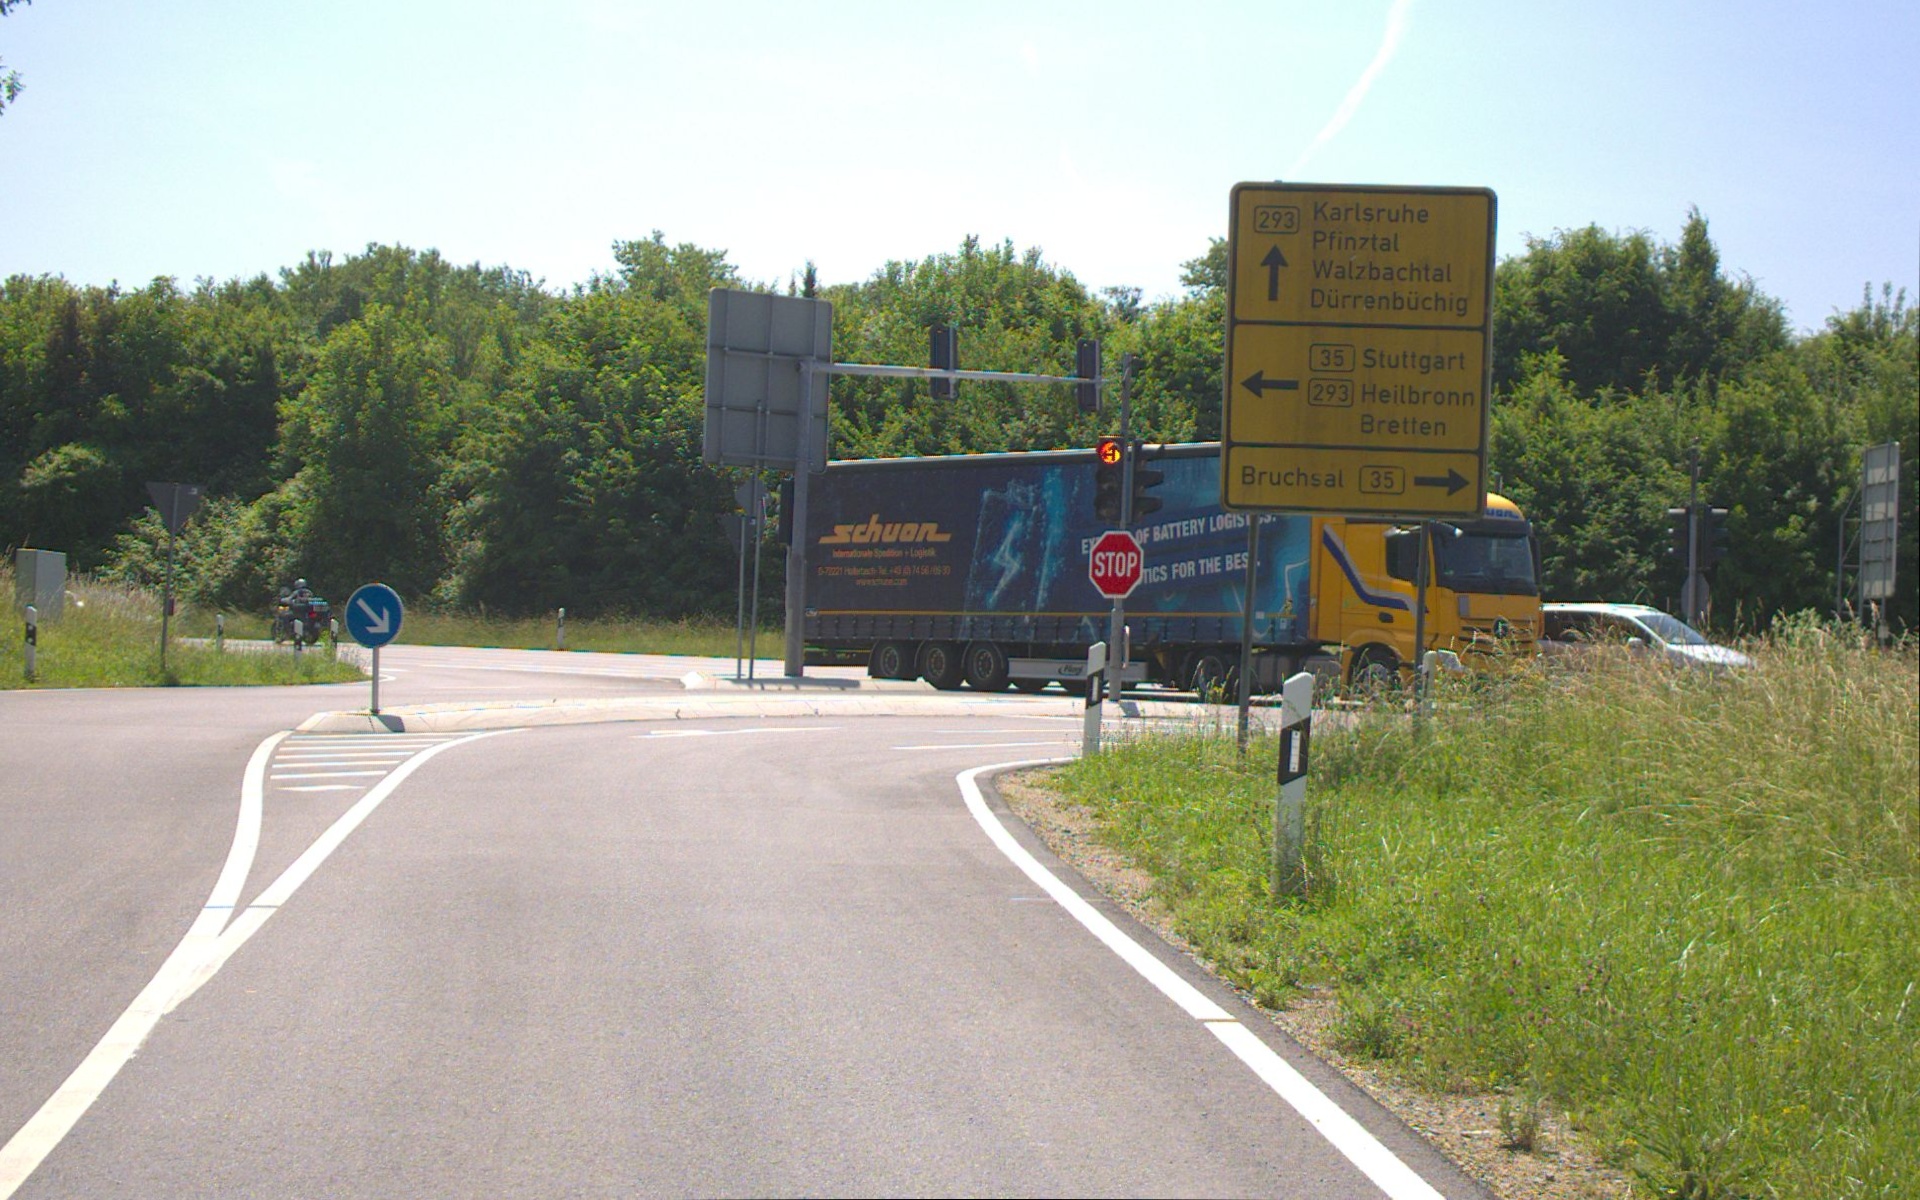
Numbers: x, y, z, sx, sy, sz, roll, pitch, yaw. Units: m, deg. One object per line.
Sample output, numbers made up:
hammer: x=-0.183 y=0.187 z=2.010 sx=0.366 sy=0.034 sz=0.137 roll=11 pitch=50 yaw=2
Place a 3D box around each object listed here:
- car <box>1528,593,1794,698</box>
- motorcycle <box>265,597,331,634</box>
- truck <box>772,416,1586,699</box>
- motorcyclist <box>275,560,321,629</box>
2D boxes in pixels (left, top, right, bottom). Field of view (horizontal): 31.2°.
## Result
car: x=10.958 y=0.695 z=53.814 sx=3.686 sy=1.570 sz=1.722 roll=0 pitch=1 yaw=39
motorcycle: x=-17.605 y=0.407 z=91.436 sx=1.871 sy=0.960 sz=0.729 roll=-1 pitch=0 yaw=42
truck: x=2.999 y=-0.745 z=57.496 sx=2.843 sy=4.117 sz=16.807 roll=1 pitch=0 yaw=-39
motorcyclist: x=-17.608 y=-0.142 z=91.450 sx=0.898 sy=1.837 sz=0.837 roll=0 pitch=0 yaw=41
